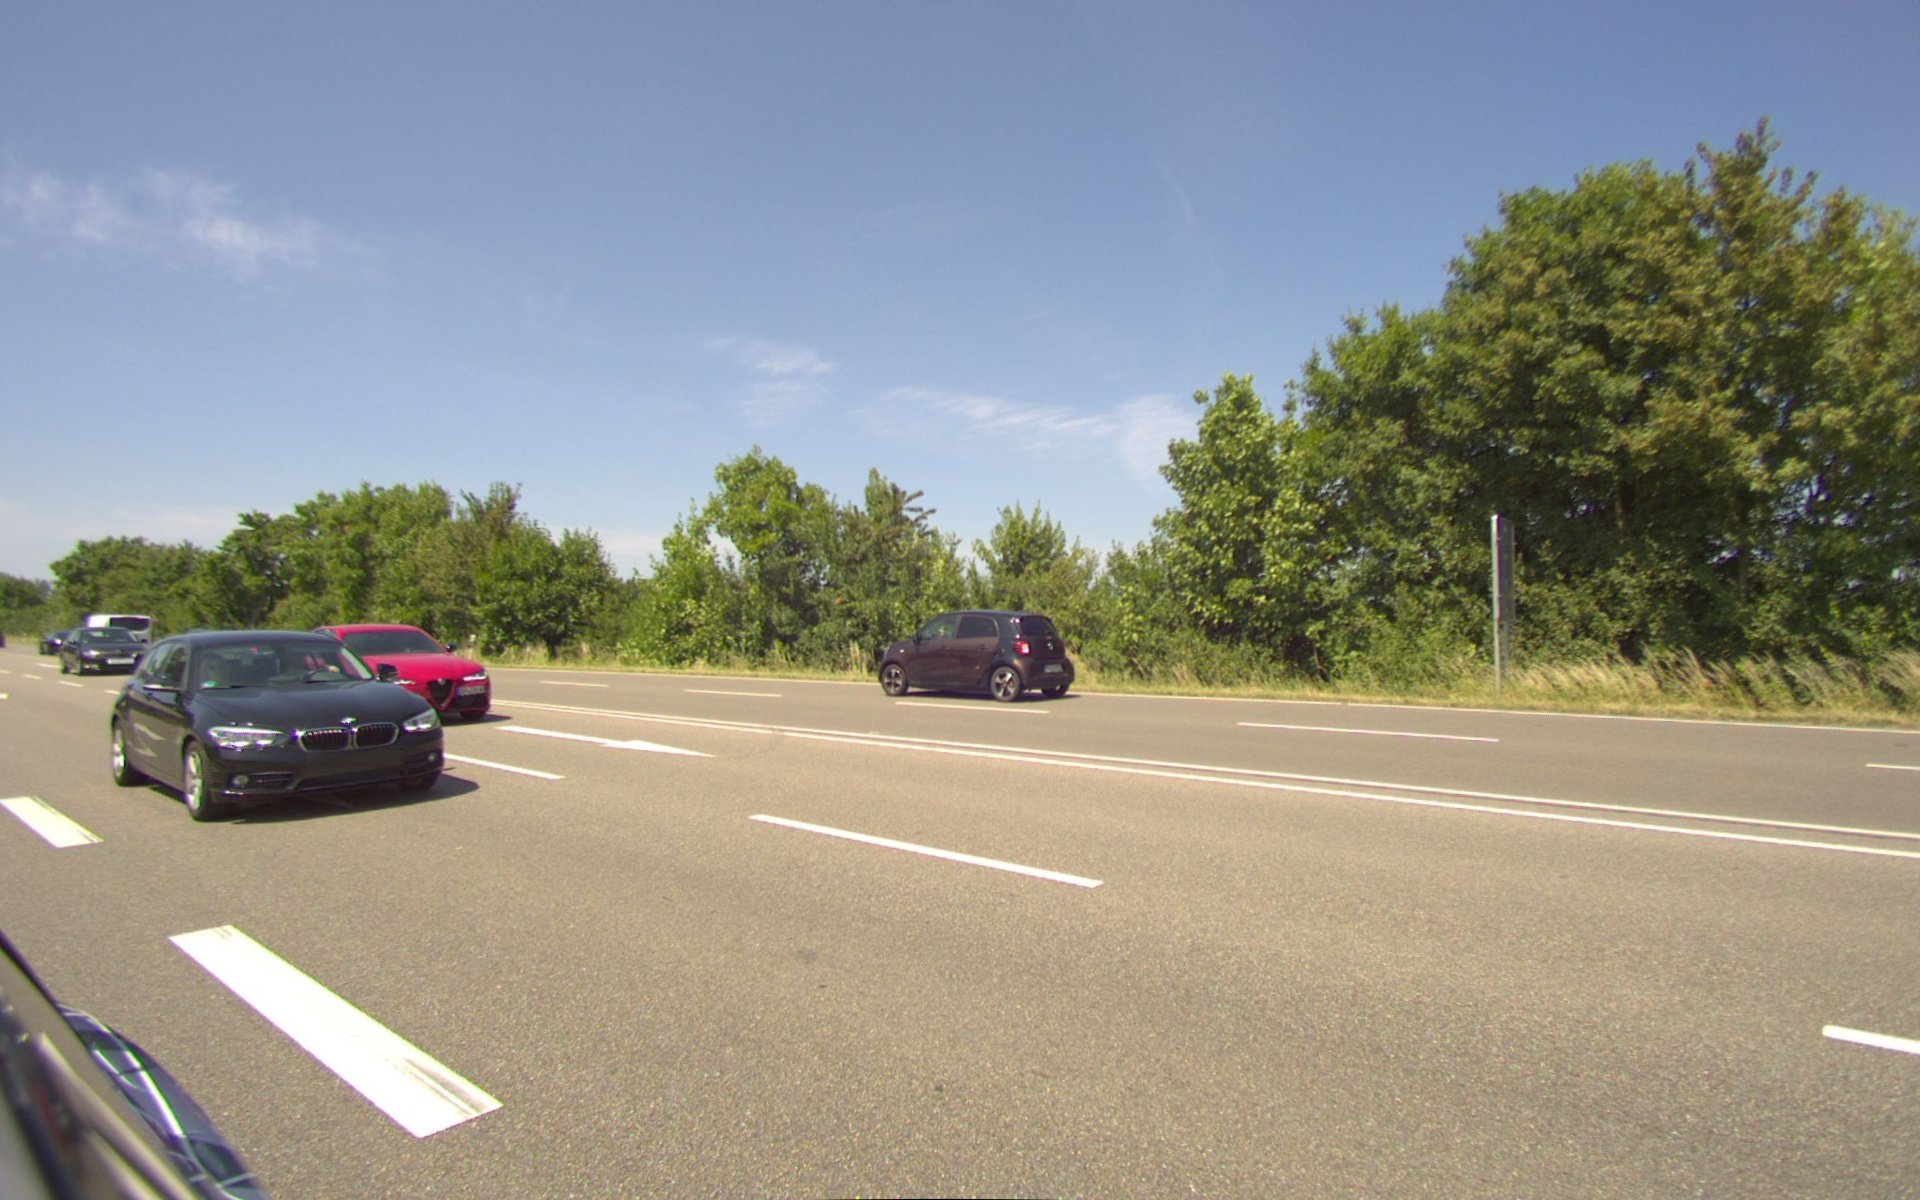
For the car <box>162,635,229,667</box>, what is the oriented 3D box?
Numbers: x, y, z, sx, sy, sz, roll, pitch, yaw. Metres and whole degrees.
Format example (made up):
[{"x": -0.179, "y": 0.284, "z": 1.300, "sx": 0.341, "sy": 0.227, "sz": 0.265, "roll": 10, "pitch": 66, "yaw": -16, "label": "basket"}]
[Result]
[{"x": -37.864, "y": 2.488, "z": 50.092, "sx": 4.338, "sy": 1.472, "sz": 1.642, "roll": -2, "pitch": -2, "yaw": 38, "label": "car"}]

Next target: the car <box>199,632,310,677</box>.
[{"x": -22.294, "y": 1.666, "z": 31.907, "sx": 4.763, "sy": 1.289, "sz": 1.786, "roll": -2, "pitch": -1, "yaw": 41, "label": "car"}]

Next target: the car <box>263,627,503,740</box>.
[{"x": -8.880, "y": 1.180, "z": 15.397, "sx": 4.563, "sy": 1.432, "sz": 1.731, "roll": -2, "pitch": -1, "yaw": 41, "label": "car"}]

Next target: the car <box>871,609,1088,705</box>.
[{"x": 0.282, "y": 0.945, "z": 17.738, "sx": 3.555, "sy": 1.499, "sz": 1.628, "roll": -1, "pitch": -1, "yaw": 39, "label": "car"}]

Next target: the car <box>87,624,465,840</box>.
[{"x": -6.316, "y": 0.993, "z": 9.127, "sx": 4.378, "sy": 1.441, "sz": 1.765, "roll": -2, "pitch": -1, "yaw": 41, "label": "car"}]

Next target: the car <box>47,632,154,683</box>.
[{"x": -26.390, "y": 1.709, "z": 31.035, "sx": 4.461, "sy": 1.422, "sz": 1.659, "roll": -1, "pitch": -1, "yaw": 38, "label": "car"}]

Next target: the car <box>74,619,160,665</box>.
[{"x": -37.371, "y": 1.863, "z": 44.842, "sx": 5.044, "sy": 1.932, "sz": 1.887, "roll": -2, "pitch": -3, "yaw": 38, "label": "car"}]

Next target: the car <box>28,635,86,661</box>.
[{"x": -48.881, "y": 2.590, "z": 54.727, "sx": 4.848, "sy": 1.344, "sz": 1.536, "roll": -2, "pitch": -2, "yaw": 39, "label": "car"}]
